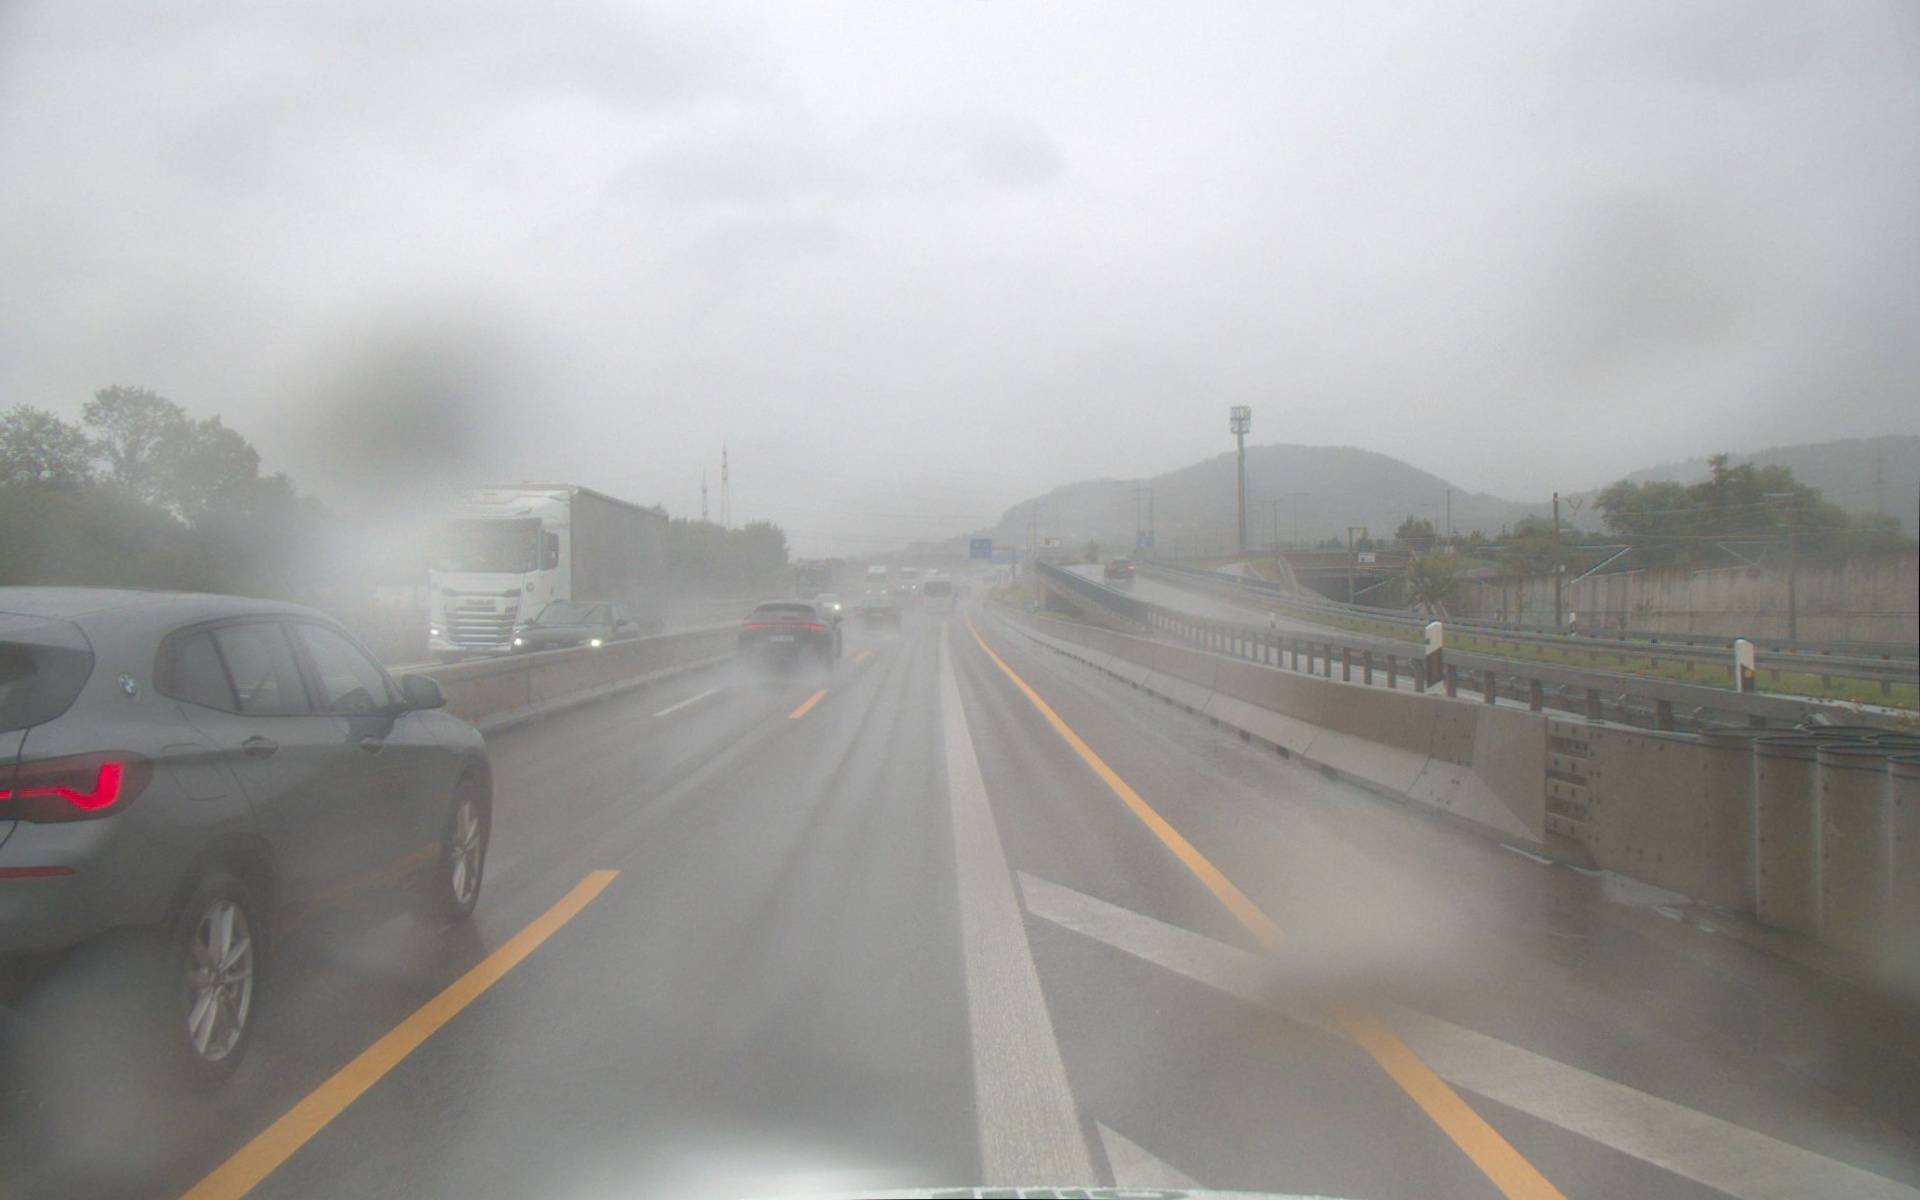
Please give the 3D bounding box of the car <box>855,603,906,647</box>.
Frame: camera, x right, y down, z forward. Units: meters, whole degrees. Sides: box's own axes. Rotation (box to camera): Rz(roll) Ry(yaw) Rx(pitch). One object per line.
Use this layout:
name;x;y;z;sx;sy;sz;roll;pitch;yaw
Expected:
car;-3.102;0.951;65.185;1.807;1.517;4.261;-2;1;-1

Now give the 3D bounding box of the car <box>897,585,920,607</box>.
car;-3.681;-0.283;117.572;1.535;1.506;2.821;-2;-1;-1

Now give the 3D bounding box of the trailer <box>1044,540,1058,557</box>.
trailer;13.950;-7.848;254.236;1.952;2.143;13.772;0;0;2

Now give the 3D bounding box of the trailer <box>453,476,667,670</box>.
trailer;-10.171;-0.548;43.828;2.632;4.352;13.068;0;-1;-1

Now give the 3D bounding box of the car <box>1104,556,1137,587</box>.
car;11.673;-2.048;120.680;1.953;2.180;3.999;0;-1;-1

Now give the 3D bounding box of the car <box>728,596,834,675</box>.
car;-3.628;0.699;34.169;1.807;1.517;4.260;0;-1;-1

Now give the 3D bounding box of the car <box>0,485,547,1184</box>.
car;-2.964;0.573;6.257;1.666;1.626;4.844;-1;0;-1

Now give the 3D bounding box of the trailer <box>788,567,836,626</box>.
trailer;-11.041;-0.223;124.339;2.596;4.181;12.312;0;-1;-1

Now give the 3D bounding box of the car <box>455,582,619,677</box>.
car;-7.327;0.500;29.023;1.854;1.510;3.999;2;-1;-1

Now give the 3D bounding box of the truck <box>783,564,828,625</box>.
truck;-10.987;-0.362;118.254;2.588;4.199;6.694;0;-1;0

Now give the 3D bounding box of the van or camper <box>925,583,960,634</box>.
van or camper;-1.010;0.483;93.456;1.956;2.826;4.048;0;-1;-1

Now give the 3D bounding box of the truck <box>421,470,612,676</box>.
truck;-10.104;-0.540;38.449;2.653;4.352;6.748;0;-1;-1
